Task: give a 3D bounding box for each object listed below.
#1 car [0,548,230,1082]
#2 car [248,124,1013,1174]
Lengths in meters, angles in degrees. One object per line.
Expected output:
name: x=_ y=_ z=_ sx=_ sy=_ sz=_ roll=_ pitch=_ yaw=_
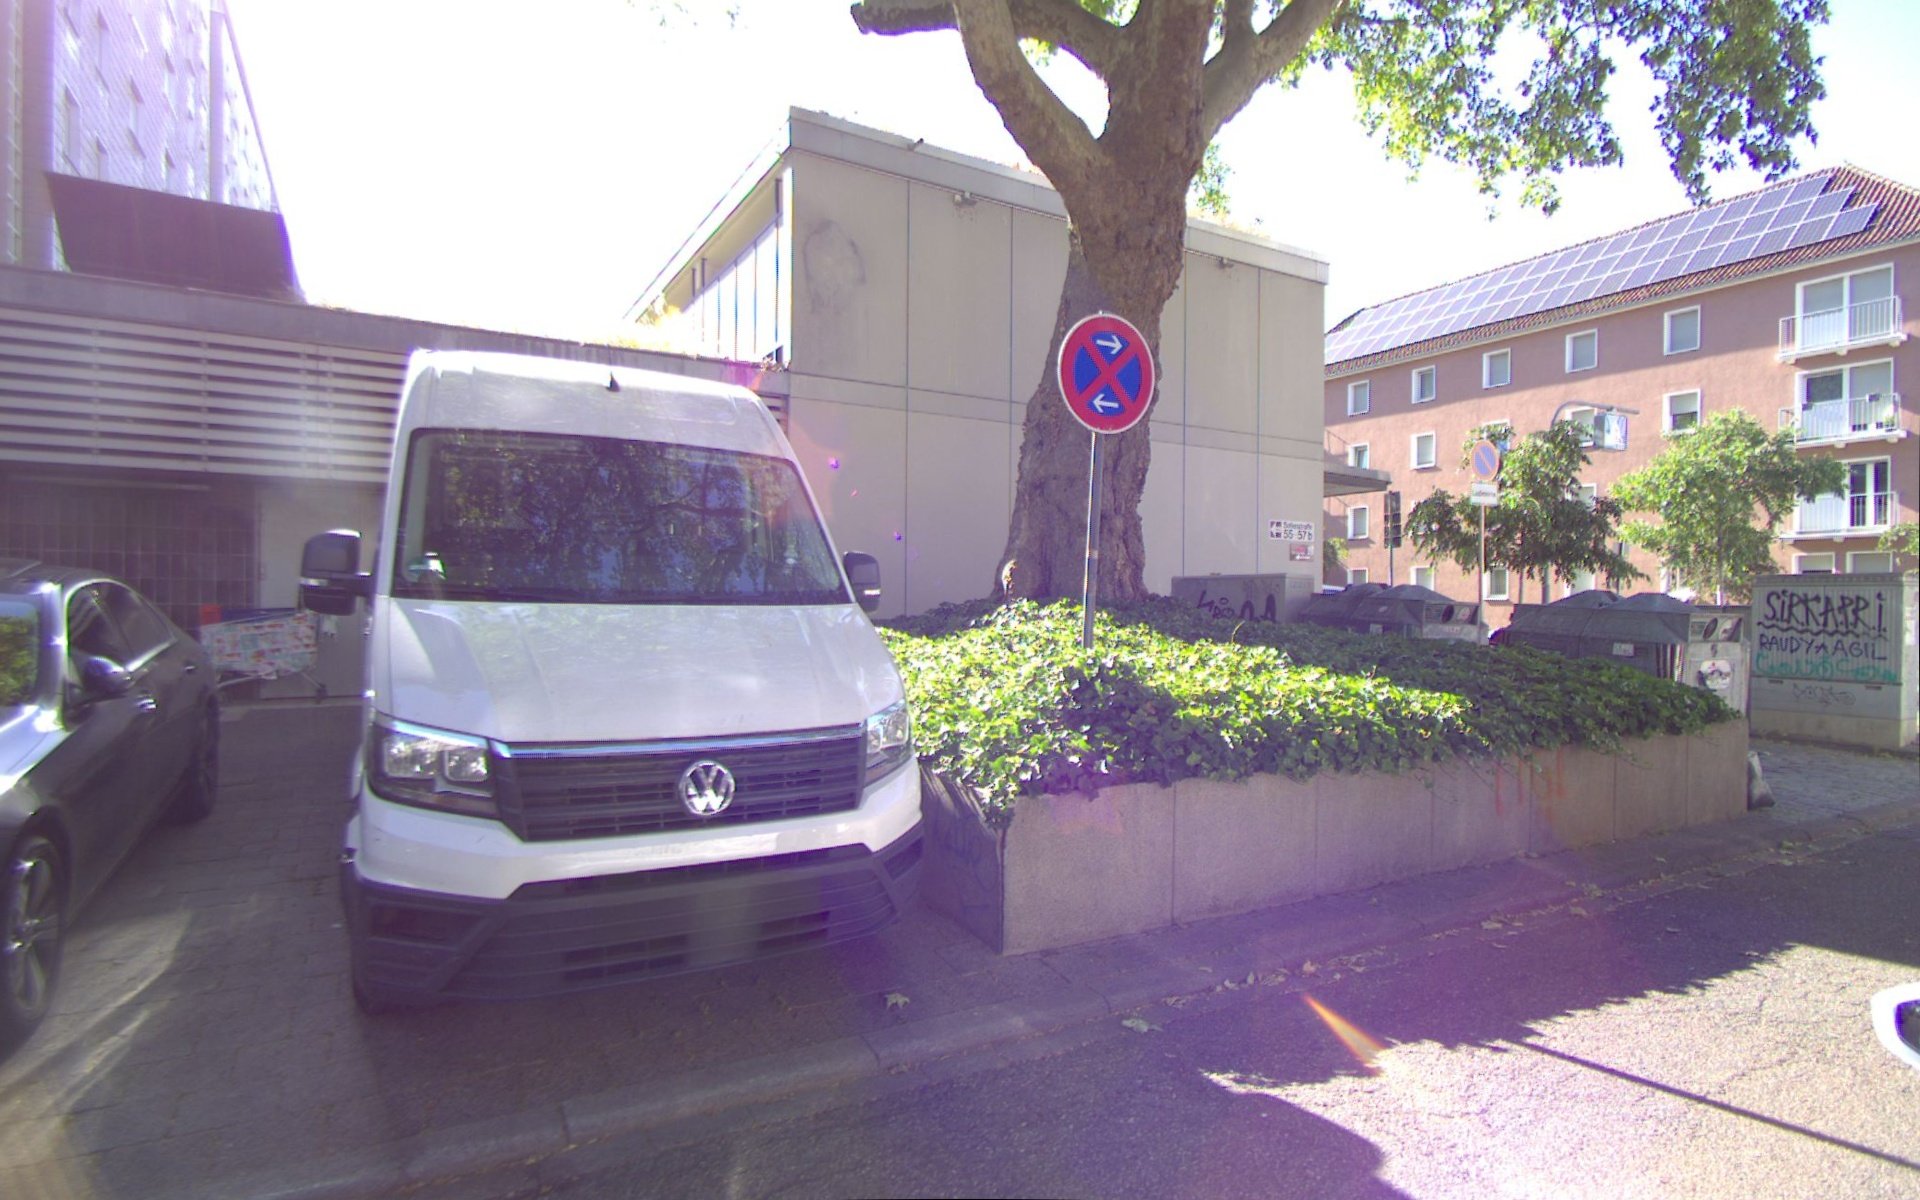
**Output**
car: x=-4.470 y=0.557 z=4.032 sx=1.905 sy=1.490 sz=4.480 roll=1 pitch=2 yaw=-29
car: x=-2.366 y=0.008 z=5.945 sx=2.119 sy=2.589 sz=6.710 roll=2 pitch=2 yaw=-28
